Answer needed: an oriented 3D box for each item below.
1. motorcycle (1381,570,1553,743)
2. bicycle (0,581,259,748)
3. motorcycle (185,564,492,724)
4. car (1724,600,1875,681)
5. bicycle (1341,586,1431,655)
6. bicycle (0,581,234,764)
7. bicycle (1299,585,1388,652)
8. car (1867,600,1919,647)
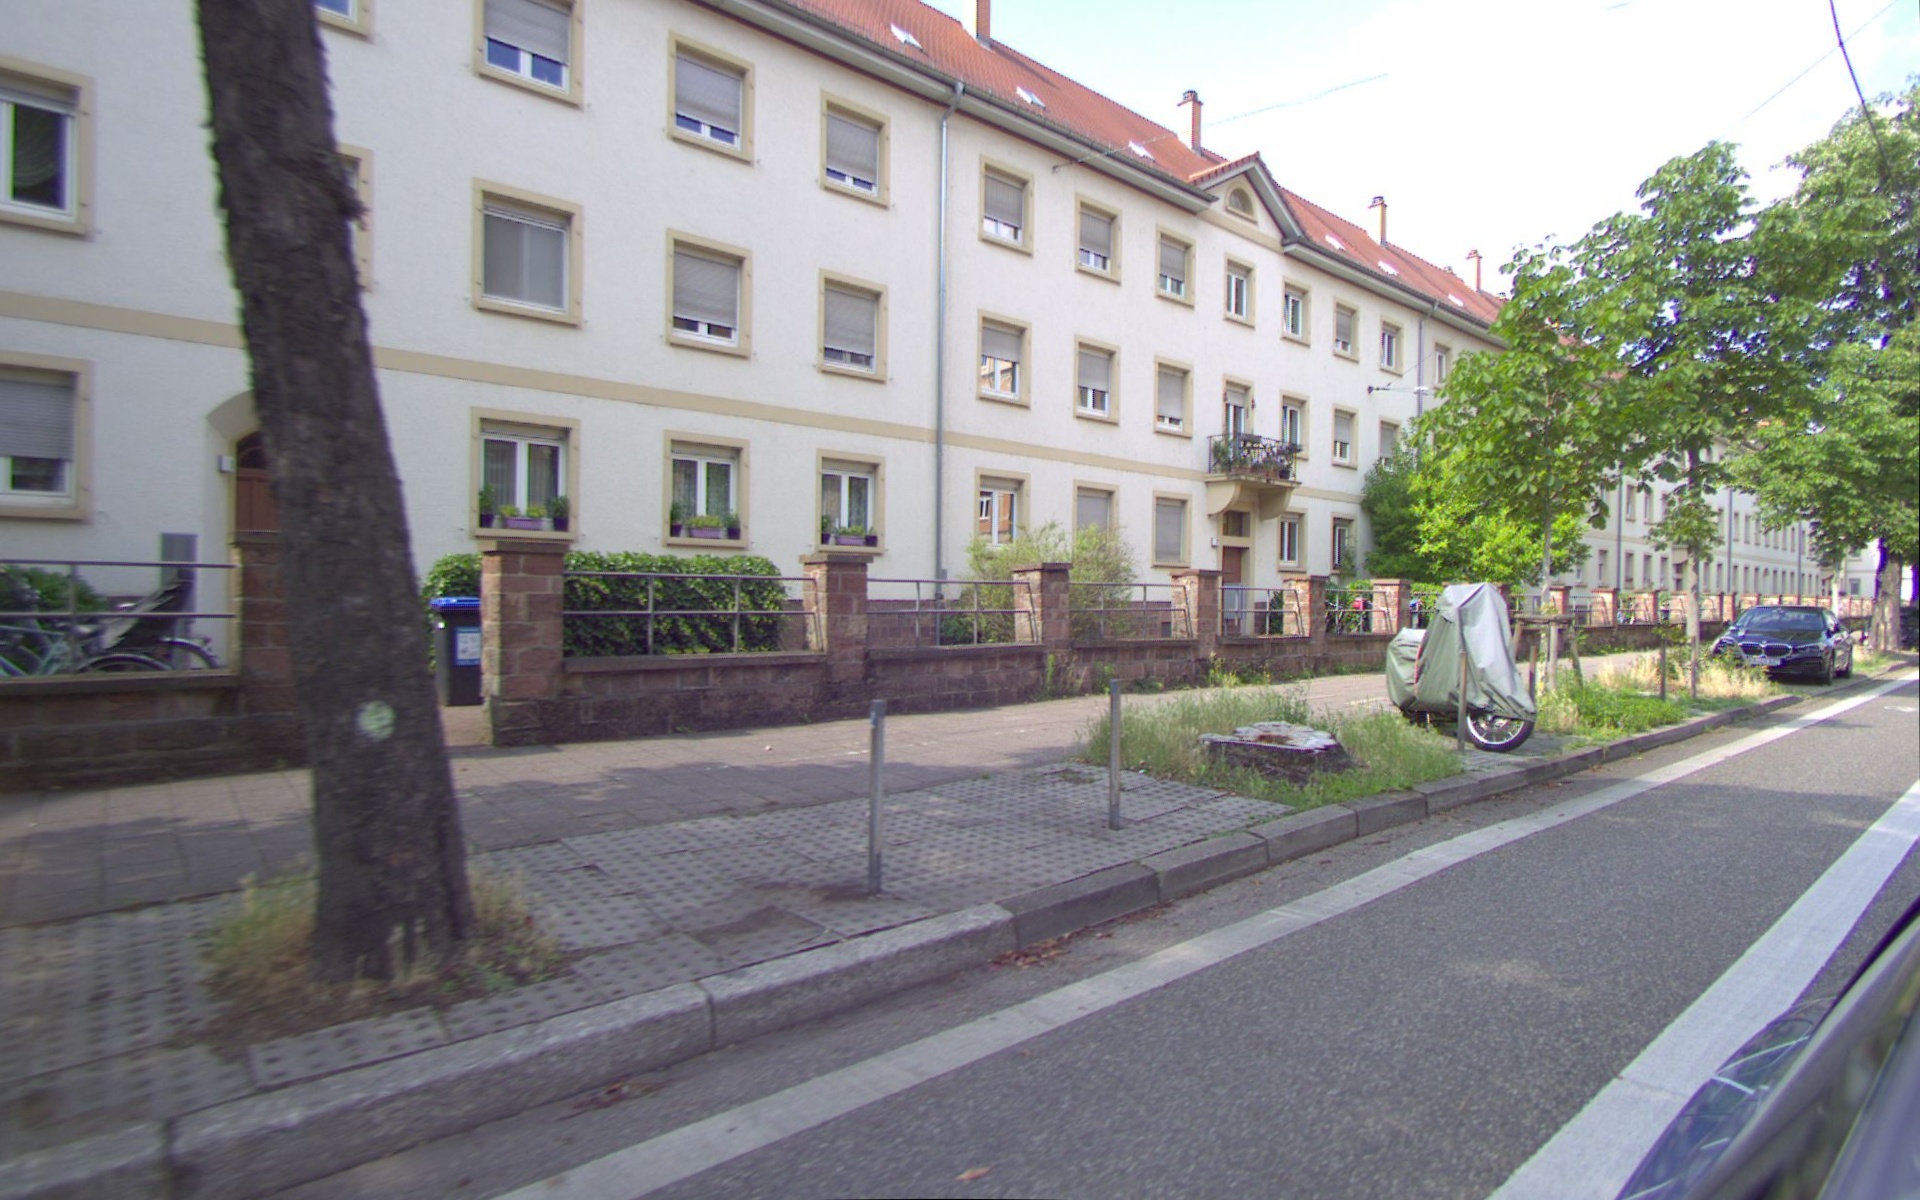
[{"bbox_3d":[4.908,0.485,9.971,0.796,1.512,2.067,1,0,5],"label":"motorcycle"},{"bbox_3d":[-6.915,0.461,7.696,2.553,1.206,0.653,-1,0,-41],"label":"bicycle"},{"bbox_3d":[-6.164,0.380,10.169,2.553,1.432,0.752,-1,0,-41],"label":"motorcycle"},{"bbox_3d":[16.374,0.713,19.680,3.931,1.405,1.692,0,1,-42],"label":"car"},{"bbox_3d":[8.182,0.369,19.393,2.194,1.252,0.691,0,0,-41],"label":"bicycle"},{"bbox_3d":[-6.564,0.478,6.924,2.553,1.206,0.653,-1,0,-41],"label":"bicycle"},{"bbox_3d":[7.601,0.343,20.003,2.194,1.252,0.691,0,0,-41],"label":"bicycle"},{"bbox_3d":[30.241,0.706,32.150,3.931,1.405,1.692,0,1,-42],"label":"car"}]
